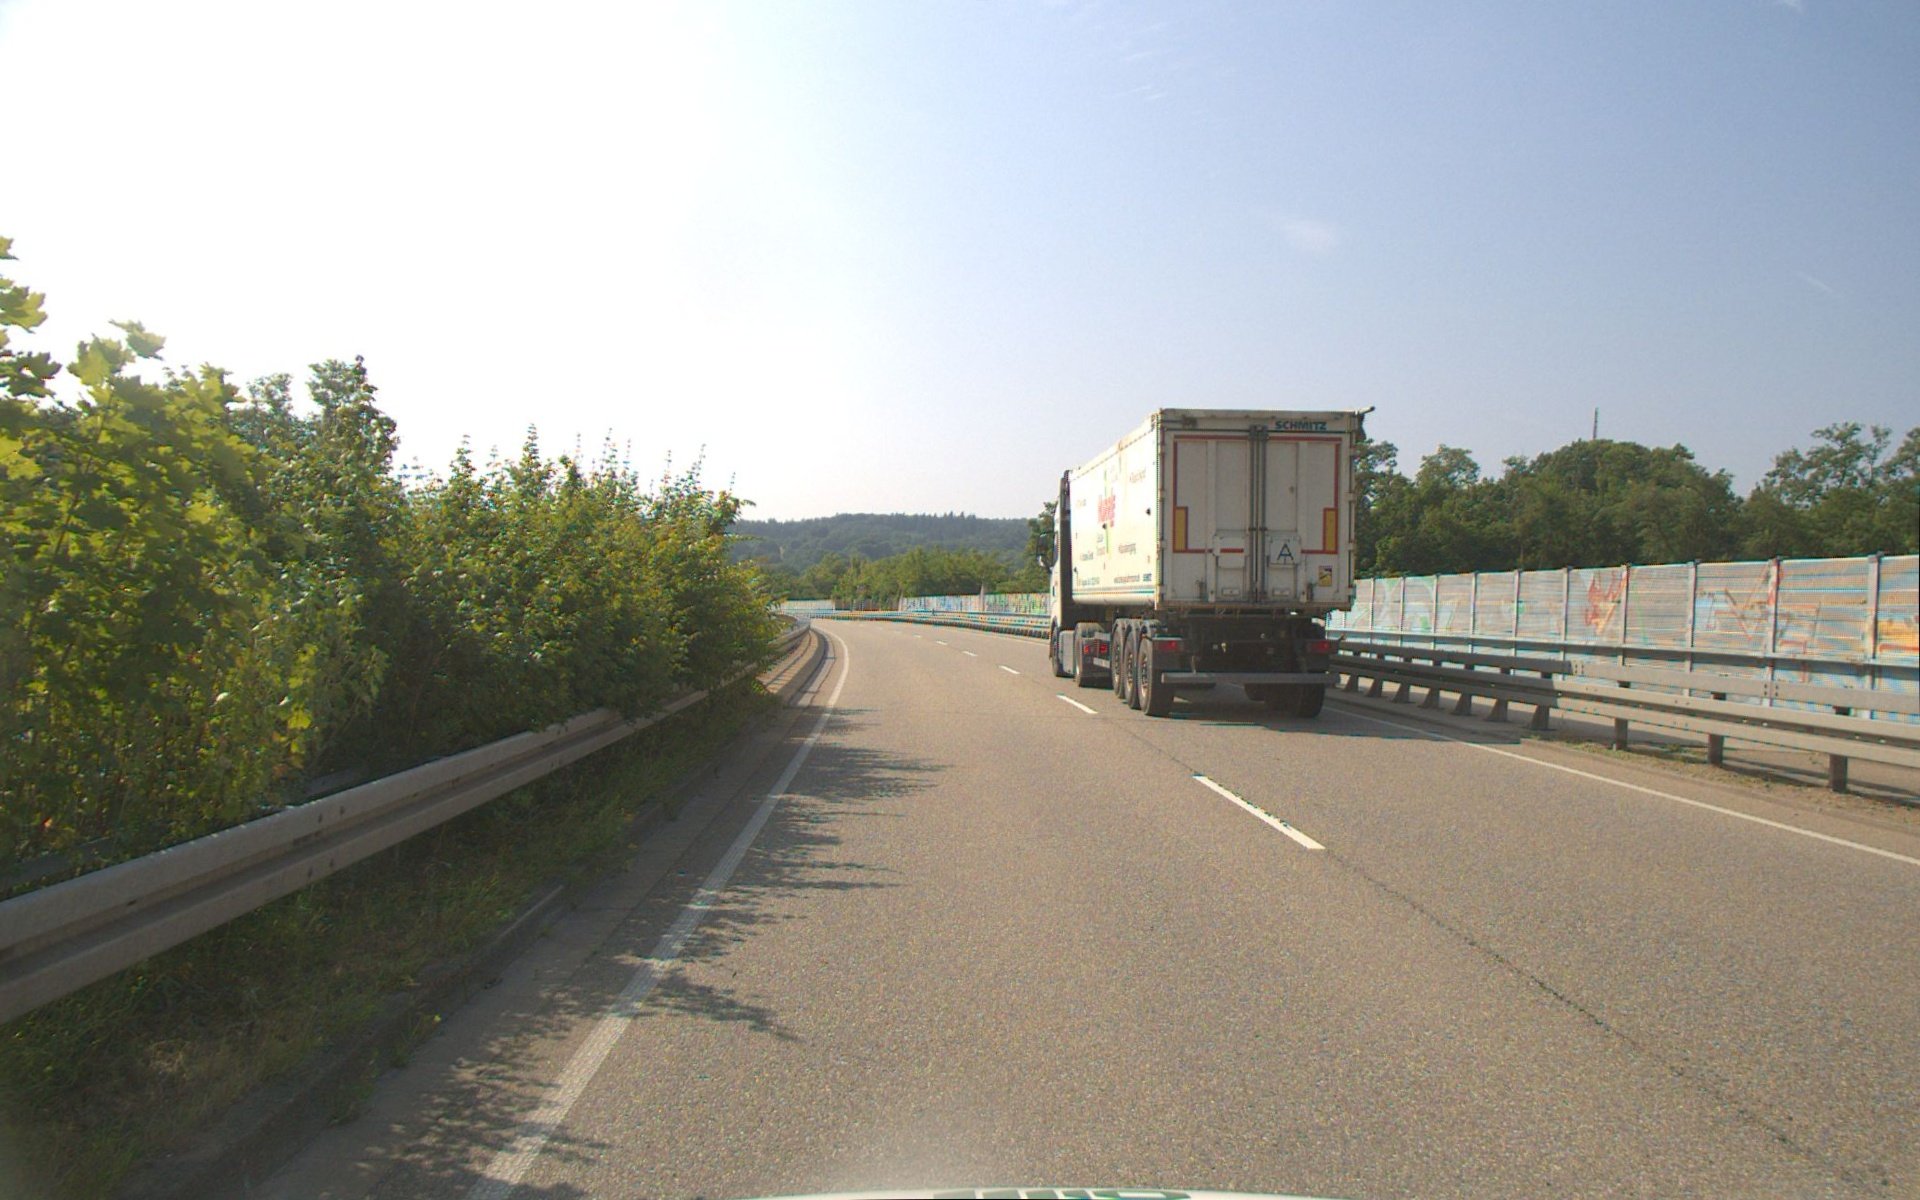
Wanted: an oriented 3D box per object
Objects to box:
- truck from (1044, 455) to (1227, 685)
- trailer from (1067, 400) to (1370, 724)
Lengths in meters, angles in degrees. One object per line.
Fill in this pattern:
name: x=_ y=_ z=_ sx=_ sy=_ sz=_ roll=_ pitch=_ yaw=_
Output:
truck: x=3.194 y=-0.542 z=31.518 sx=2.605 sy=3.964 sz=5.645 roll=0 pitch=0 yaw=-3
trailer: x=3.508 y=-0.489 z=25.211 sx=2.626 sy=3.975 sz=9.666 roll=0 pitch=0 yaw=-3
